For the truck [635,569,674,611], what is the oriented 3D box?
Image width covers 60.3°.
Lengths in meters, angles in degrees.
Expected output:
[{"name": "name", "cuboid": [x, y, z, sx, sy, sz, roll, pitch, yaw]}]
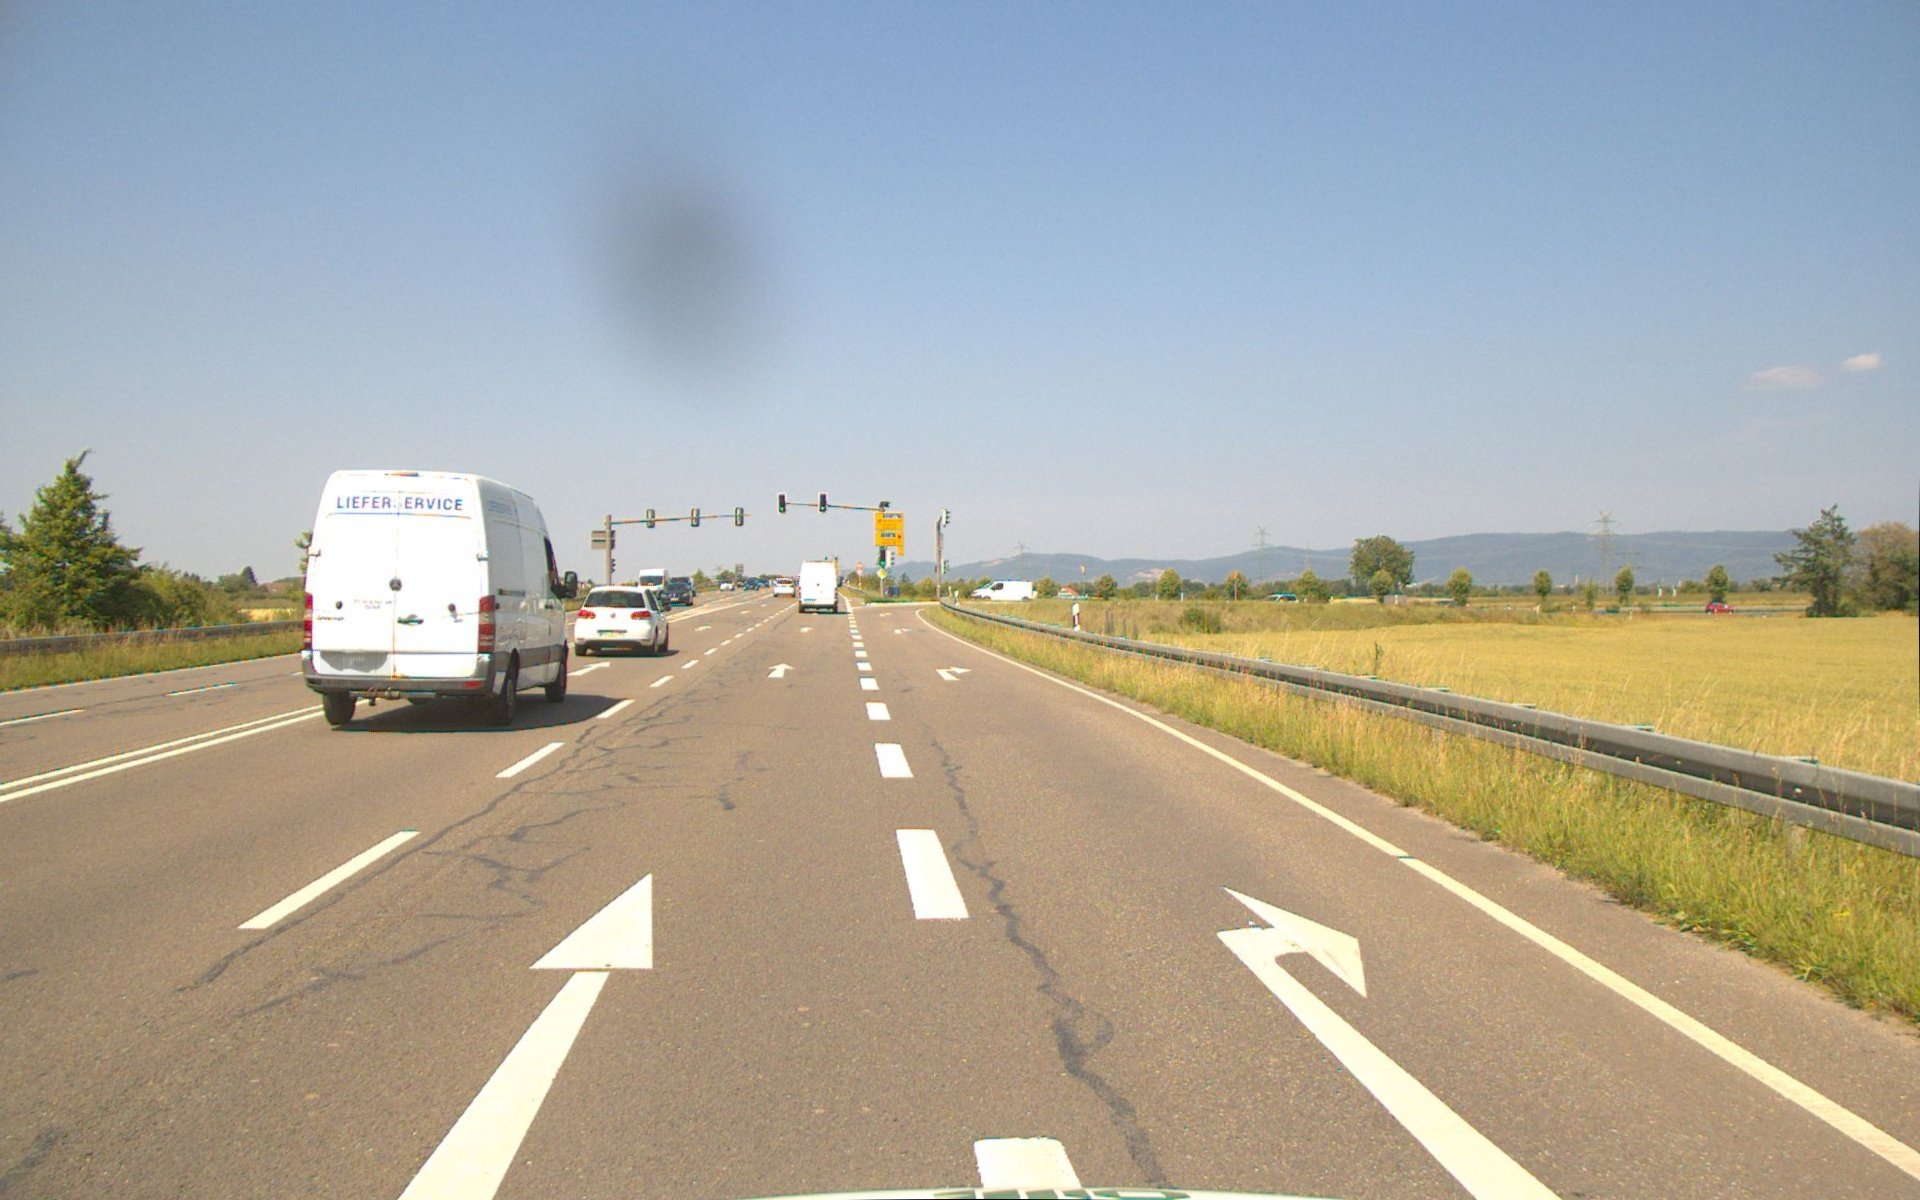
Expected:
[{"name": "truck", "cuboid": [-23.114, -0.732, 125.374, 2.251, 3.009, 5.279, 1, -1, -3]}]

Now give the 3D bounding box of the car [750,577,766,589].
[{"name": "car", "cuboid": [-30.560, -2.517, 250.176, 1.953, 1.646, 3.999, 1, -1, -1]}]

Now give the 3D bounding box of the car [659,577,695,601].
[{"name": "car", "cuboid": [-18.064, -0.701, 105.572, 1.820, 1.448, 3.997, 1, -1, -3]}]

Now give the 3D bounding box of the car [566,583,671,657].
[{"name": "car", "cuboid": [-7.461, 0.388, 36.516, 1.764, 1.534, 4.192, 0, 1, -5]}]

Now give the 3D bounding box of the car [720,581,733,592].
[{"name": "car", "cuboid": [-31.132, -1.793, 220.474, 1.433, 1.296, 3.330, 1, -1, -3]}]

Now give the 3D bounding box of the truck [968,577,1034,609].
[{"name": "truck", "cuboid": [3.202, -0.561, 129.530, 4.771, 2.361, 1.989, 1, -1, -19]}]

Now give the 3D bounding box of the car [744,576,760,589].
[{"name": "car", "cuboid": [-27.213, -2.272, 216.481, 1.602, 1.512, 3.999, 1, -1, -1]}]

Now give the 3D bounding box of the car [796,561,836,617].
[{"name": "car", "cuboid": [-7.250, -0.566, 83.553, 1.954, 2.742, 4.965, 0, 0, -5]}]

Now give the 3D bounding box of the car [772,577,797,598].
[{"name": "car", "cuboid": [-15.011, -1.058, 141.318, 1.954, 1.733, 4.271, 1, -1, -4]}]

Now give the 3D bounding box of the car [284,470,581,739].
[{"name": "car", "cuboid": [-5.894, 0.008, 19.310, 1.999, 2.665, 5.736, 0, 1, -4]}]

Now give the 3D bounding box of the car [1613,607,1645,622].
[{"name": "car", "cuboid": [72.387, 1.578, 179.026, 3.444, 1.512, 1.629, 2, -1, -35]}]
